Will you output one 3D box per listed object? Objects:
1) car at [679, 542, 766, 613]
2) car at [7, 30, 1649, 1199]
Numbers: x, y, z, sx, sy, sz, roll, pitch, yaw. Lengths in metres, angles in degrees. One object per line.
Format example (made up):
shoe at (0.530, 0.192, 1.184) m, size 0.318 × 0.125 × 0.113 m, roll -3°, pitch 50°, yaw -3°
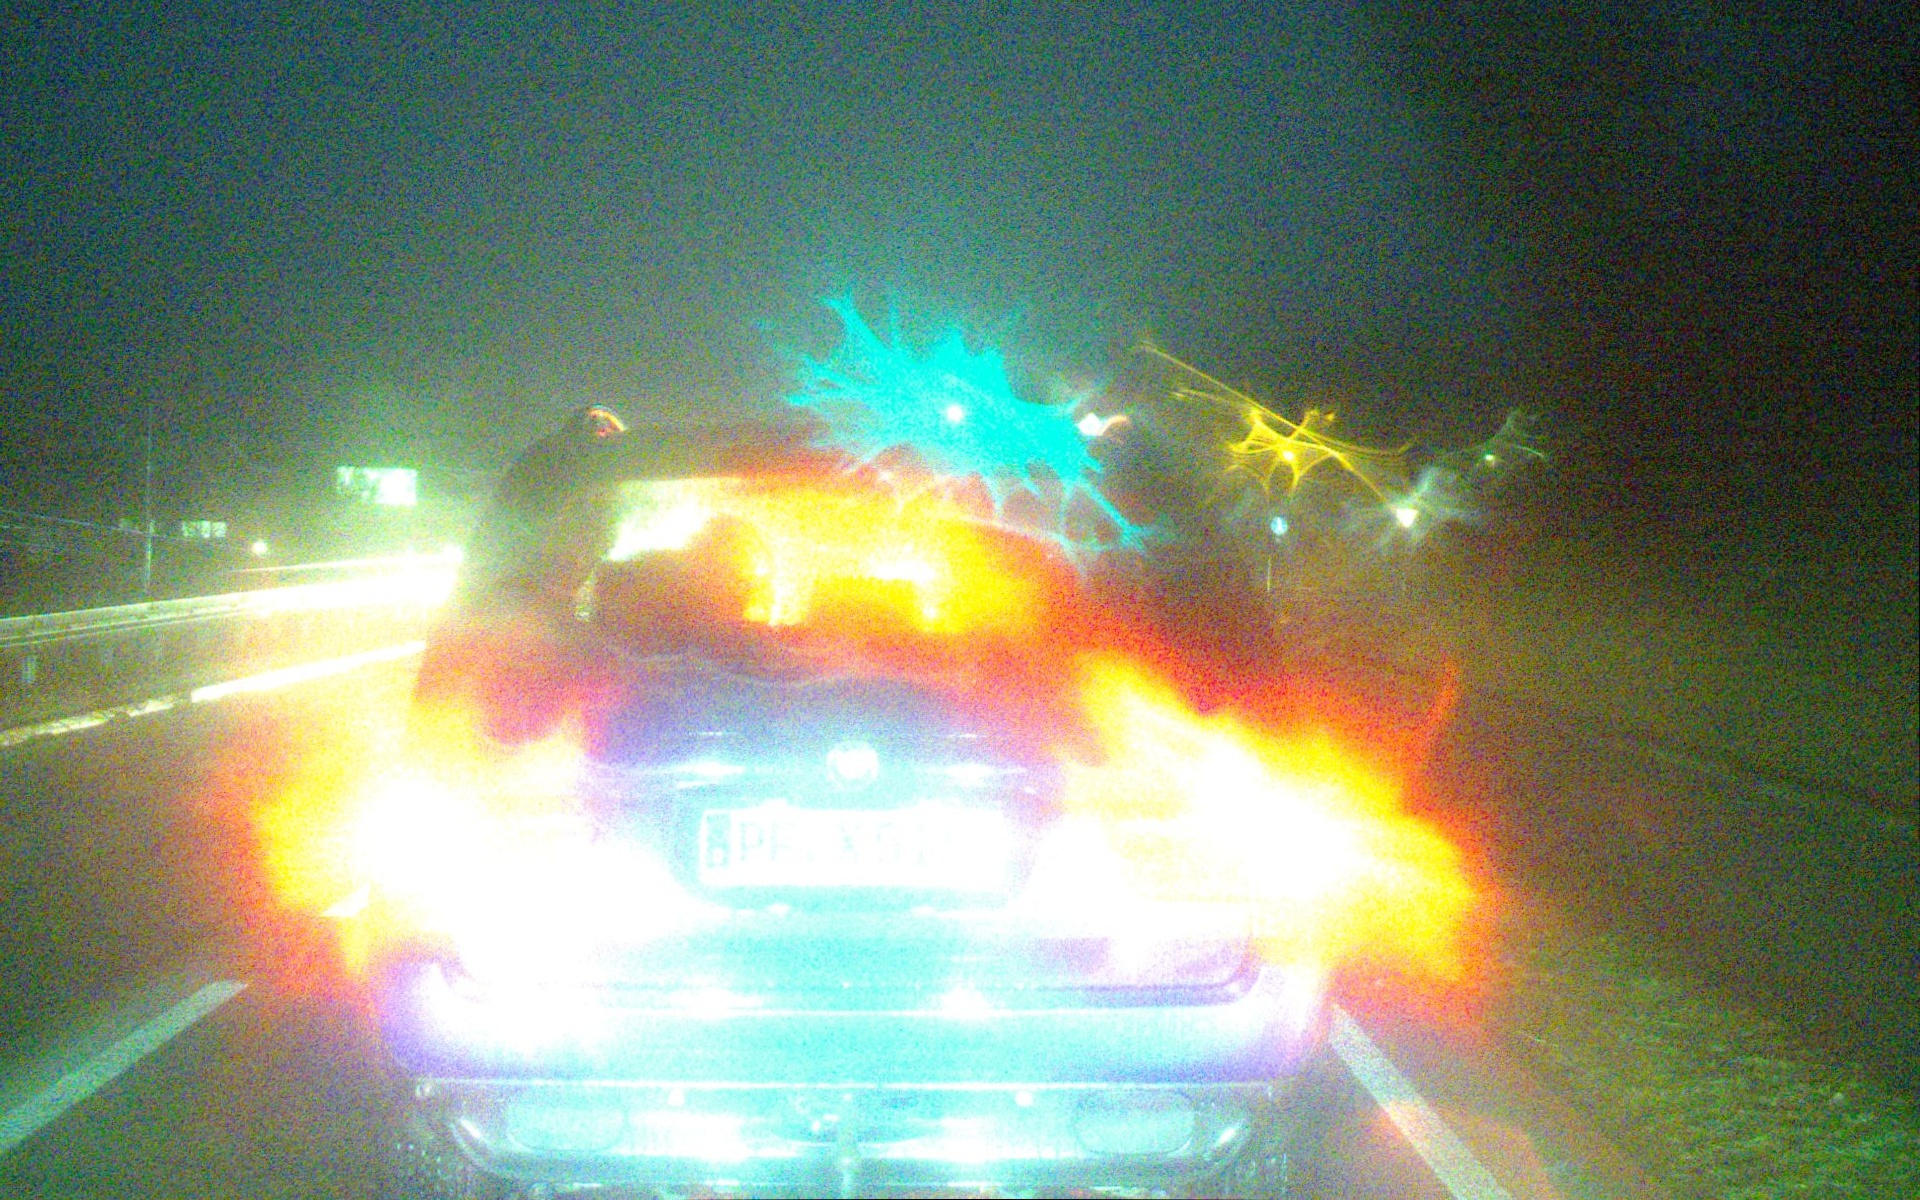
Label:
car at (-5.154, -0.506, 74.997) m, size 1.544 × 1.505 × 3.880 m, roll 1°, pitch 1°, yaw 1°
car at (-0.263, 0.153, 8.759) m, size 2.715 × 2.299 × 6.101 m, roll 0°, pitch 1°, yaw -1°
